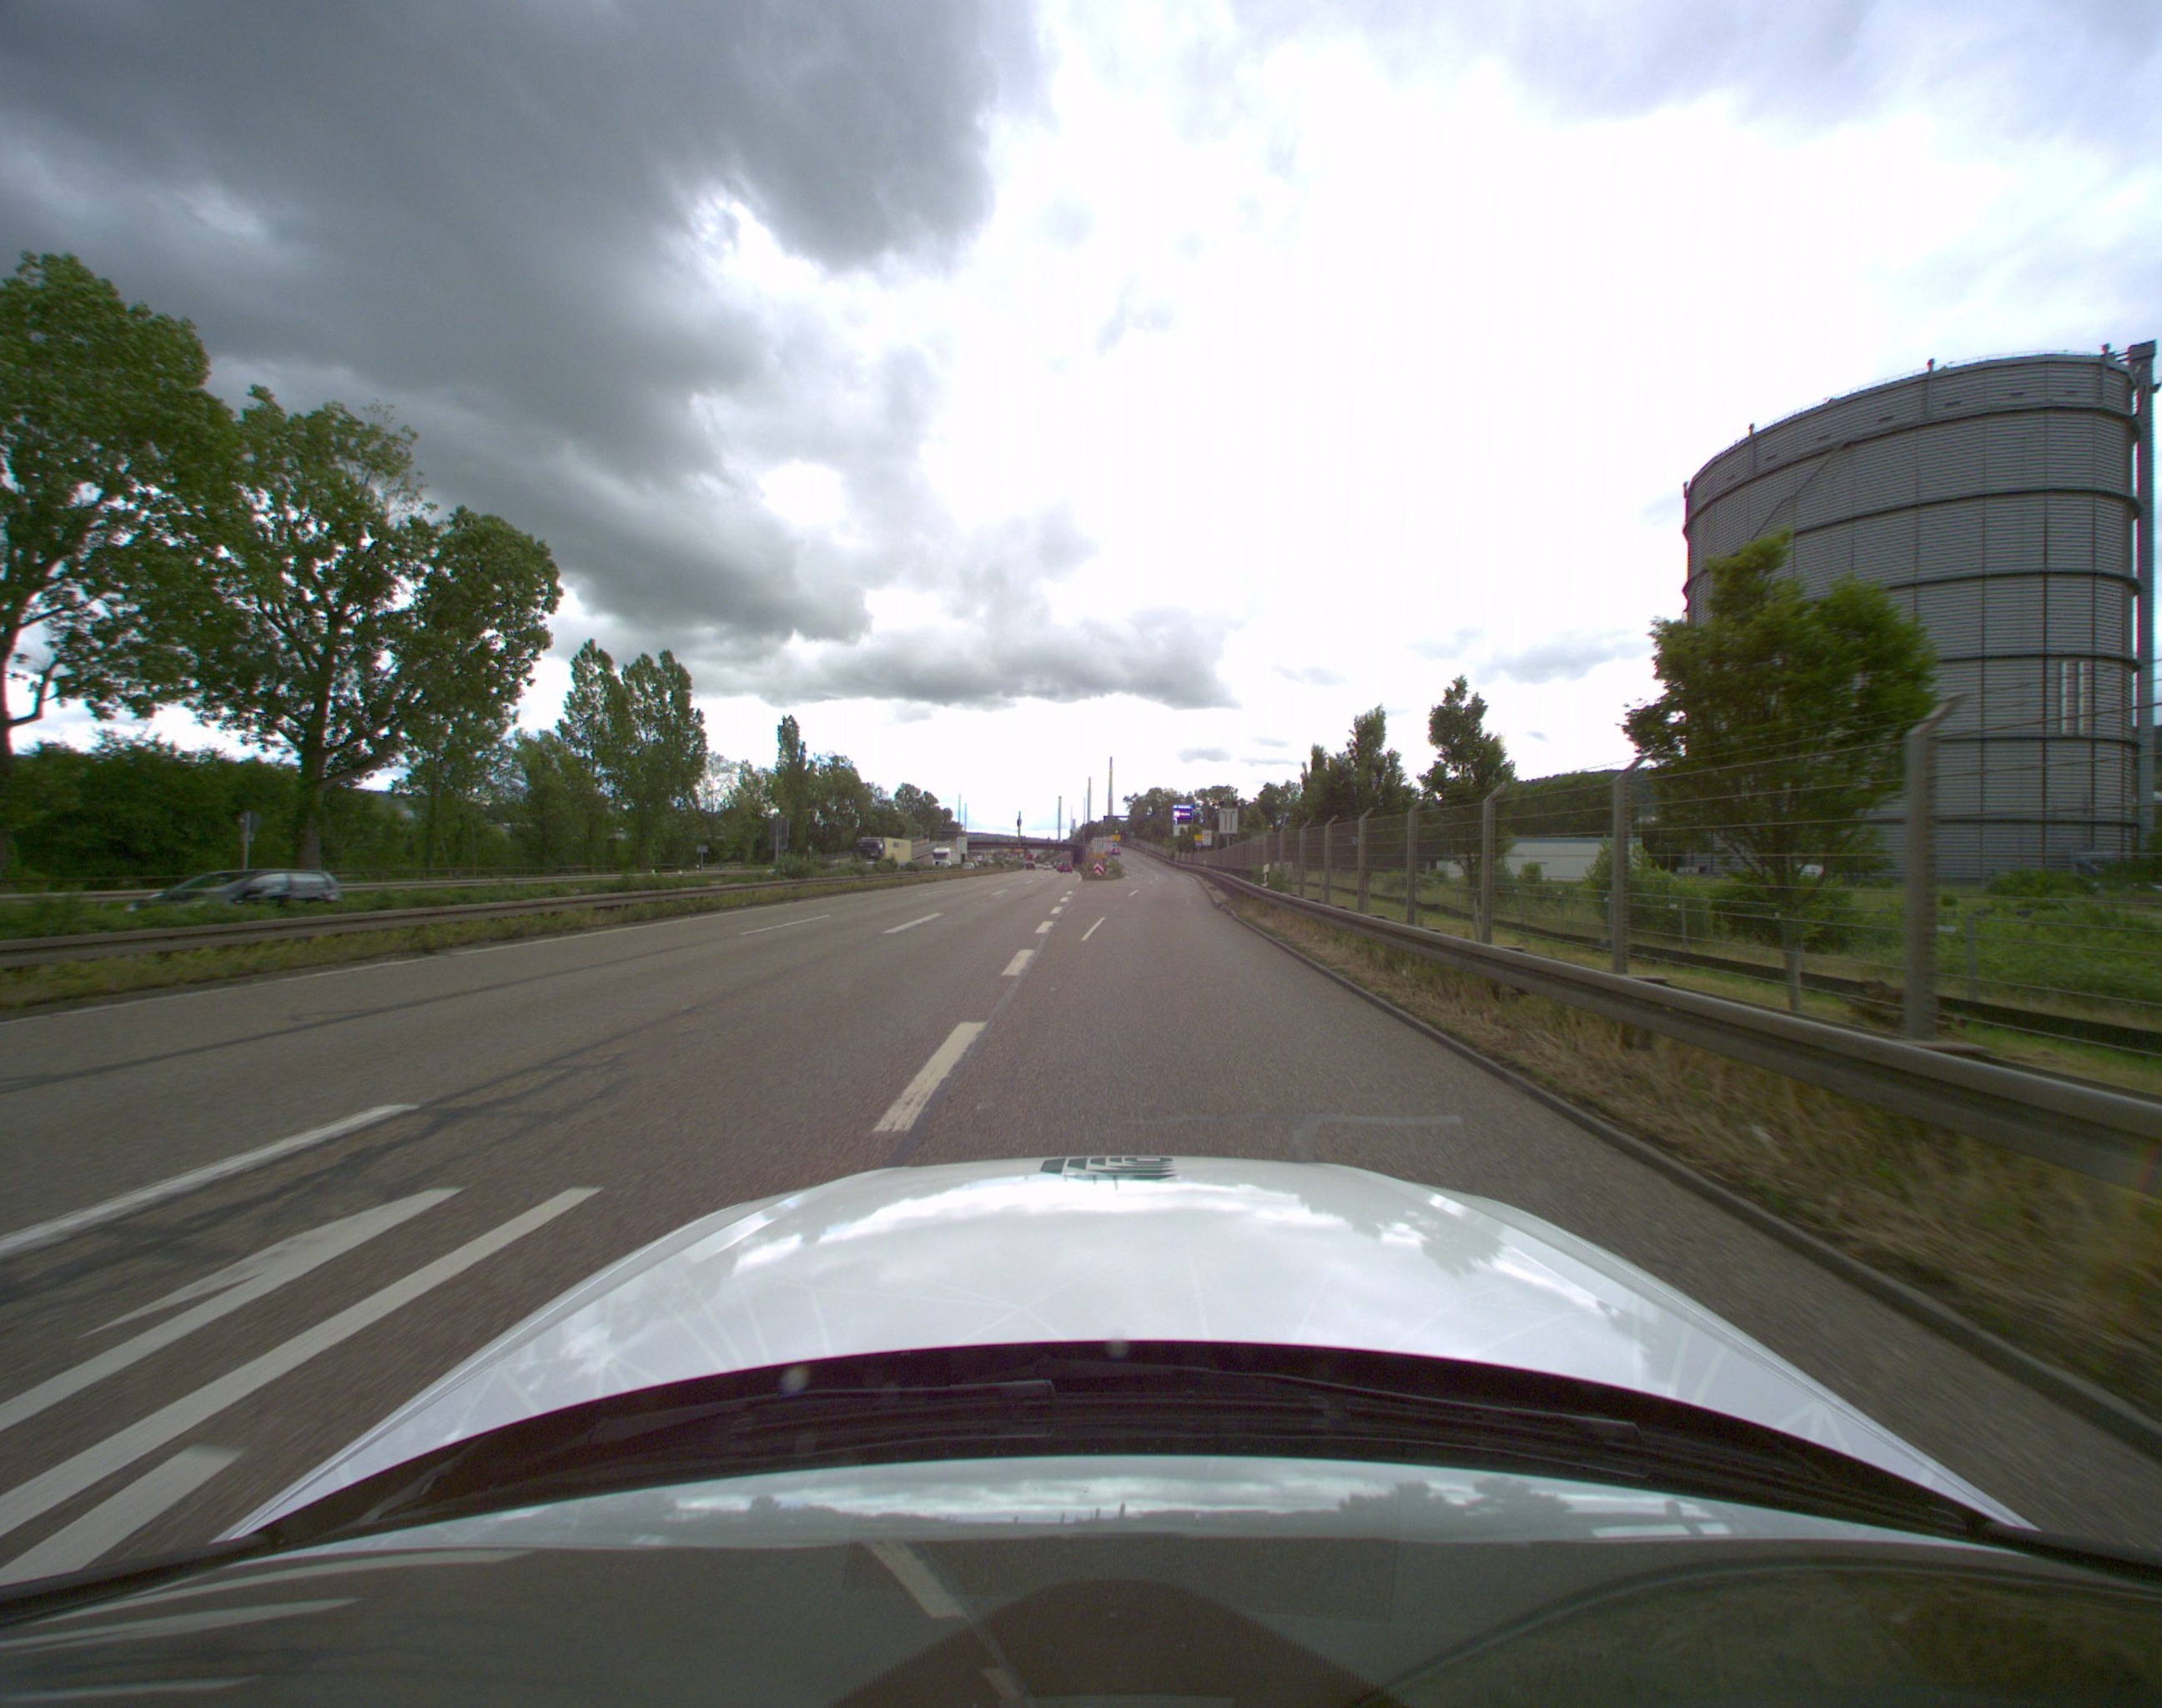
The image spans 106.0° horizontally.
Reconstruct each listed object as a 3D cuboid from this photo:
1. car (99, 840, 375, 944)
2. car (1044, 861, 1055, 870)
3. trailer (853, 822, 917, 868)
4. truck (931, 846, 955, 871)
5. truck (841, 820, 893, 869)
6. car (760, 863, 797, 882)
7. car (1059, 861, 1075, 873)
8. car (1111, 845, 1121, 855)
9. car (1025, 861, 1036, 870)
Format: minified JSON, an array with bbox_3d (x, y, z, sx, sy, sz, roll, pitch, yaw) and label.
[{"bbox_3d":[-18.556,0.764,18.243,1.988,2.013,3.997,2,0,-2],"label":"car"},{"bbox_3d":[-6.529,2.346,168.009,1.987,1.684,4.001,1,0,1],"label":"car"},{"bbox_3d":[-21.526,-0.851,90.516,3.452,4.673,14.780,1,0,0],"label":"trailer"},{"bbox_3d":[-21.993,0.738,129.994,2.782,3.937,5.309,1,-1,-1],"label":"truck"},{"bbox_3d":[-21.556,-0.897,82.442,3.452,4.673,6.210,1,0,0],"label":"truck"},{"bbox_3d":[-29.221,1.732,78.831,1.988,1.644,4.600,2,0,-2],"label":"car"},{"bbox_3d":[-1.848,1.738,107.993,1.988,1.420,3.997,1,1,-2],"label":"car"},{"bbox_3d":[6.748,-0.750,156.244,1.742,1.580,4.090,-5,0,4],"label":"car"},{"bbox_3d":[-10.594,2.364,170.894,1.987,1.684,4.001,1,0,1],"label":"car"}]
